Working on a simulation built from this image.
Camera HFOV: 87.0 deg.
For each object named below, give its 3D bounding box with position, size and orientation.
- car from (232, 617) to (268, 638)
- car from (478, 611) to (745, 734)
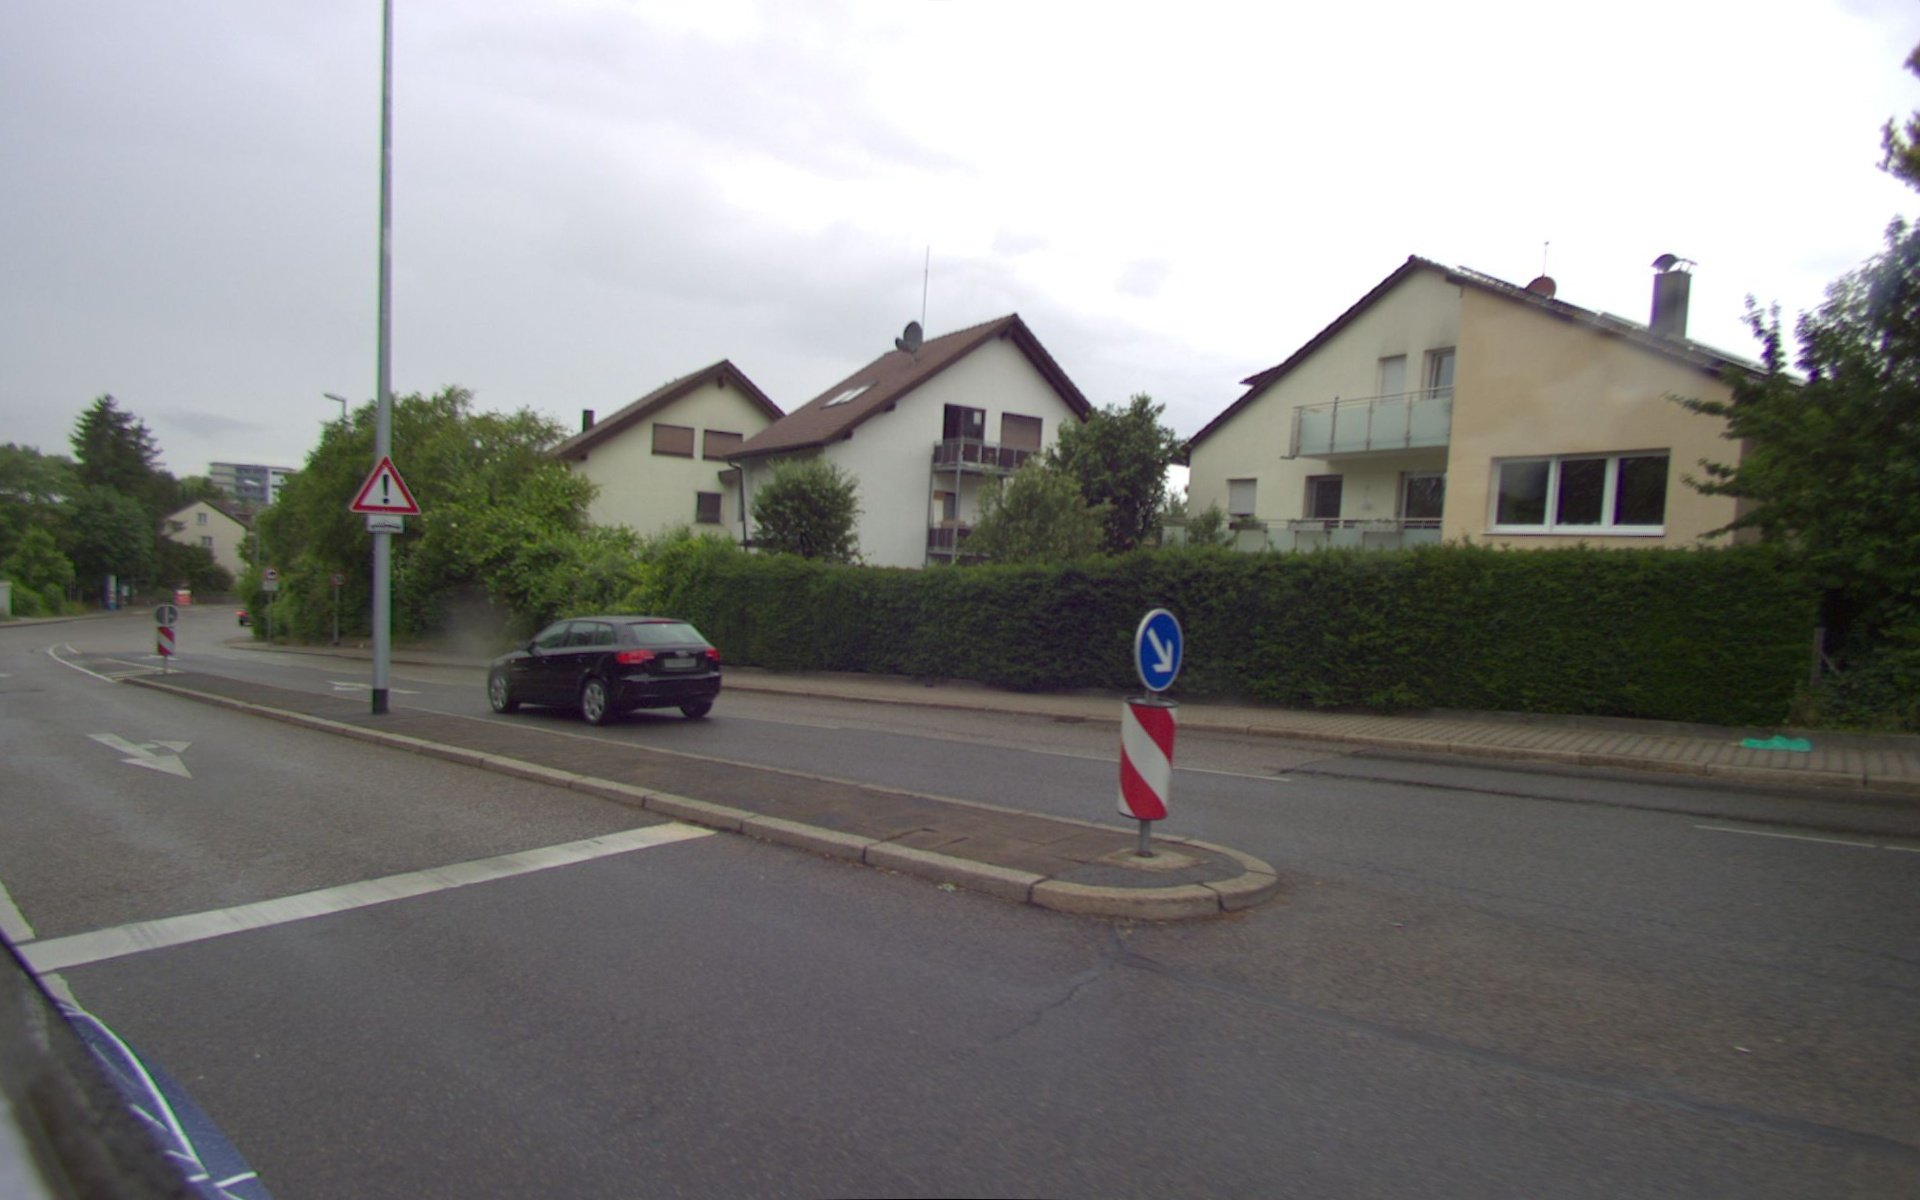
[{"bbox_3d":[-66.211,2.545,94.454,1.928,1.860,4.013,3,-3,-23],"label":"car"},{"bbox_3d":[-4.985,0.930,14.289,3.829,1.504,1.844,-1,-2,39],"label":"car"}]
